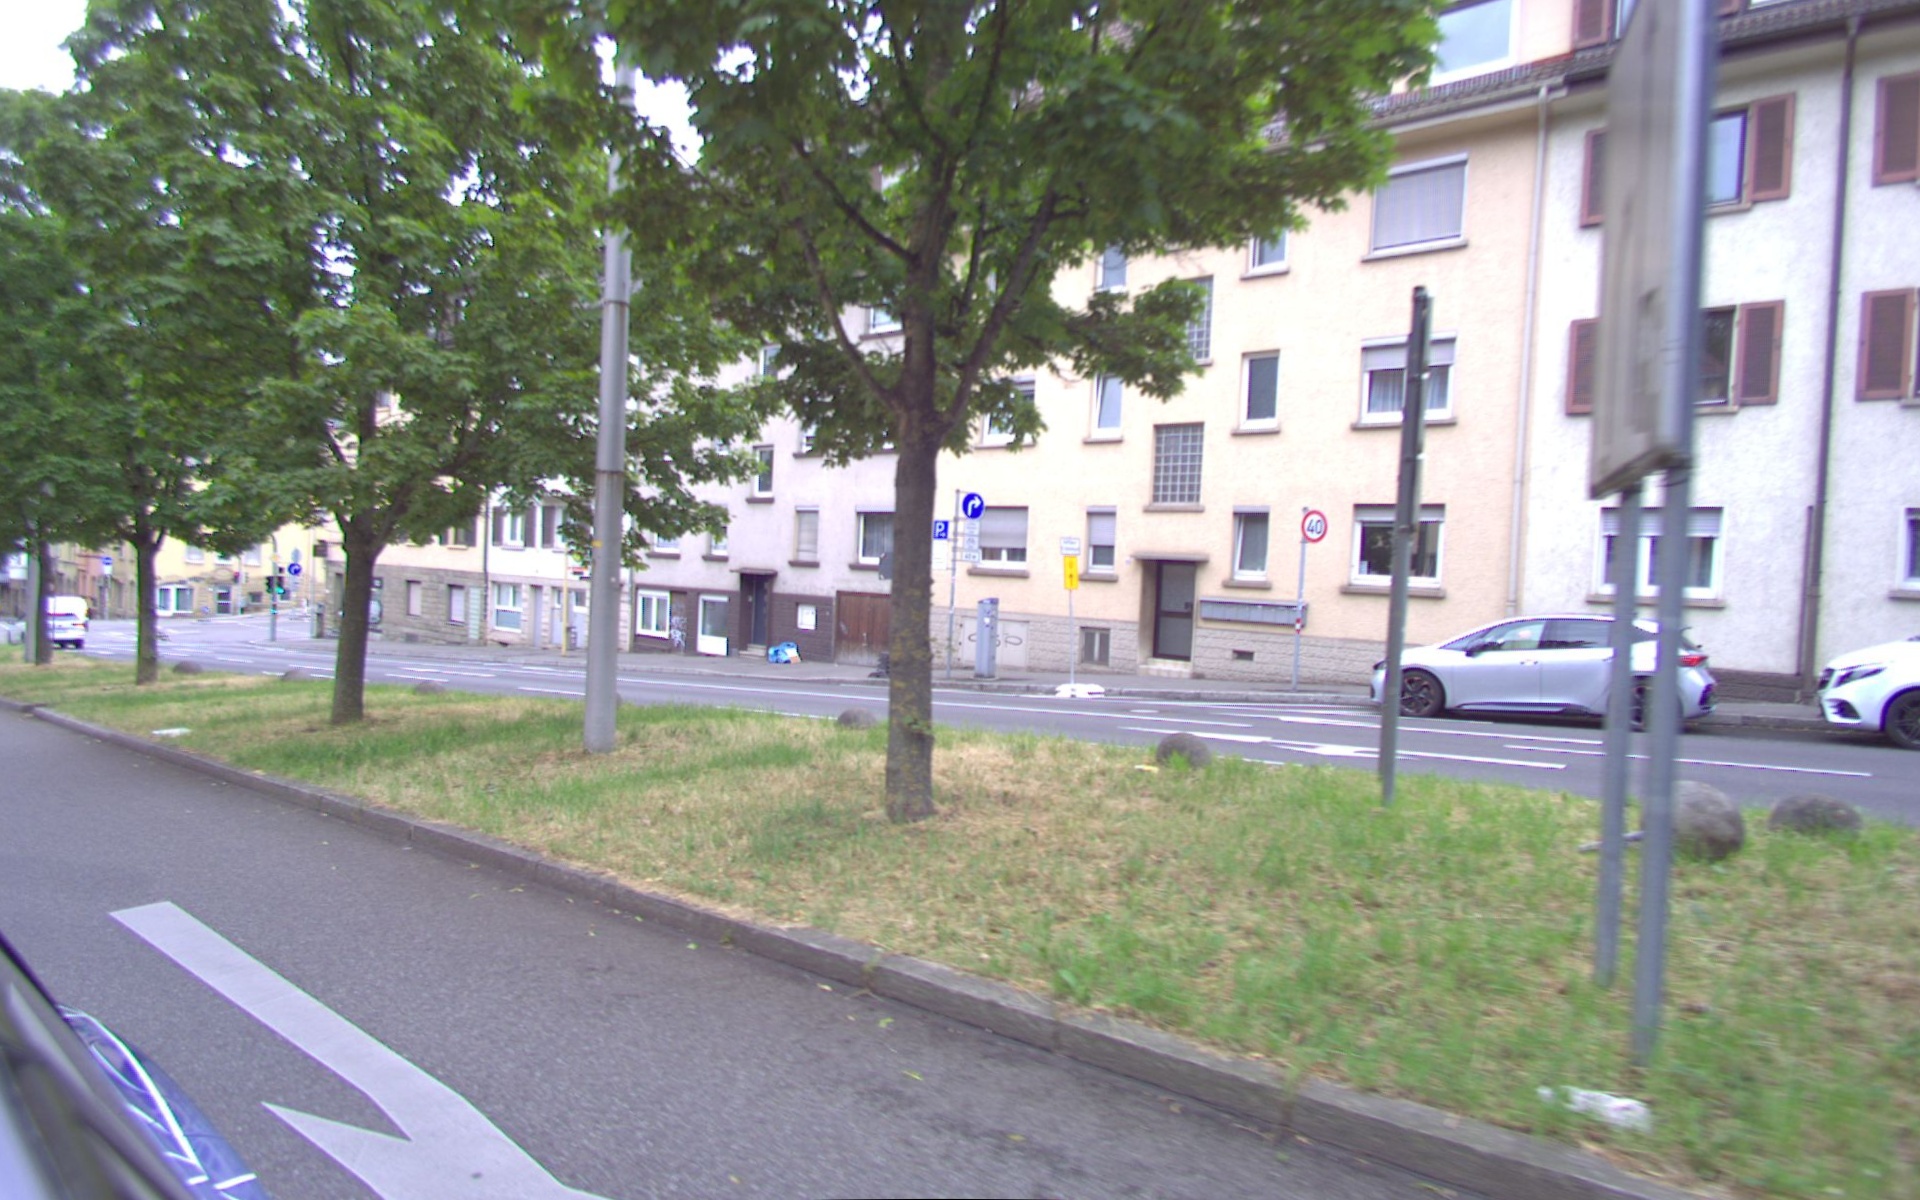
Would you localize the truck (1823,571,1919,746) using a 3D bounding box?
[{"bbox_3d":[12.772,0.661,10.771,5.339,1.934,1.975,0,-1,38],"label":"truck"}]

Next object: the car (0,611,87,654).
[{"bbox_3d":[-34.173,1.173,37.652,4.579,1.478,1.729,0,-1,38],"label":"car"}]

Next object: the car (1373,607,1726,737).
[{"bbox_3d":[8.320,0.900,14.430,4.152,1.564,1.975,0,-1,38],"label":"car"}]

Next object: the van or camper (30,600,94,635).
[{"bbox_3d":[-48.670,0.921,54.805,4.650,1.774,1.889,0,0,39],"label":"van or camper"}]
